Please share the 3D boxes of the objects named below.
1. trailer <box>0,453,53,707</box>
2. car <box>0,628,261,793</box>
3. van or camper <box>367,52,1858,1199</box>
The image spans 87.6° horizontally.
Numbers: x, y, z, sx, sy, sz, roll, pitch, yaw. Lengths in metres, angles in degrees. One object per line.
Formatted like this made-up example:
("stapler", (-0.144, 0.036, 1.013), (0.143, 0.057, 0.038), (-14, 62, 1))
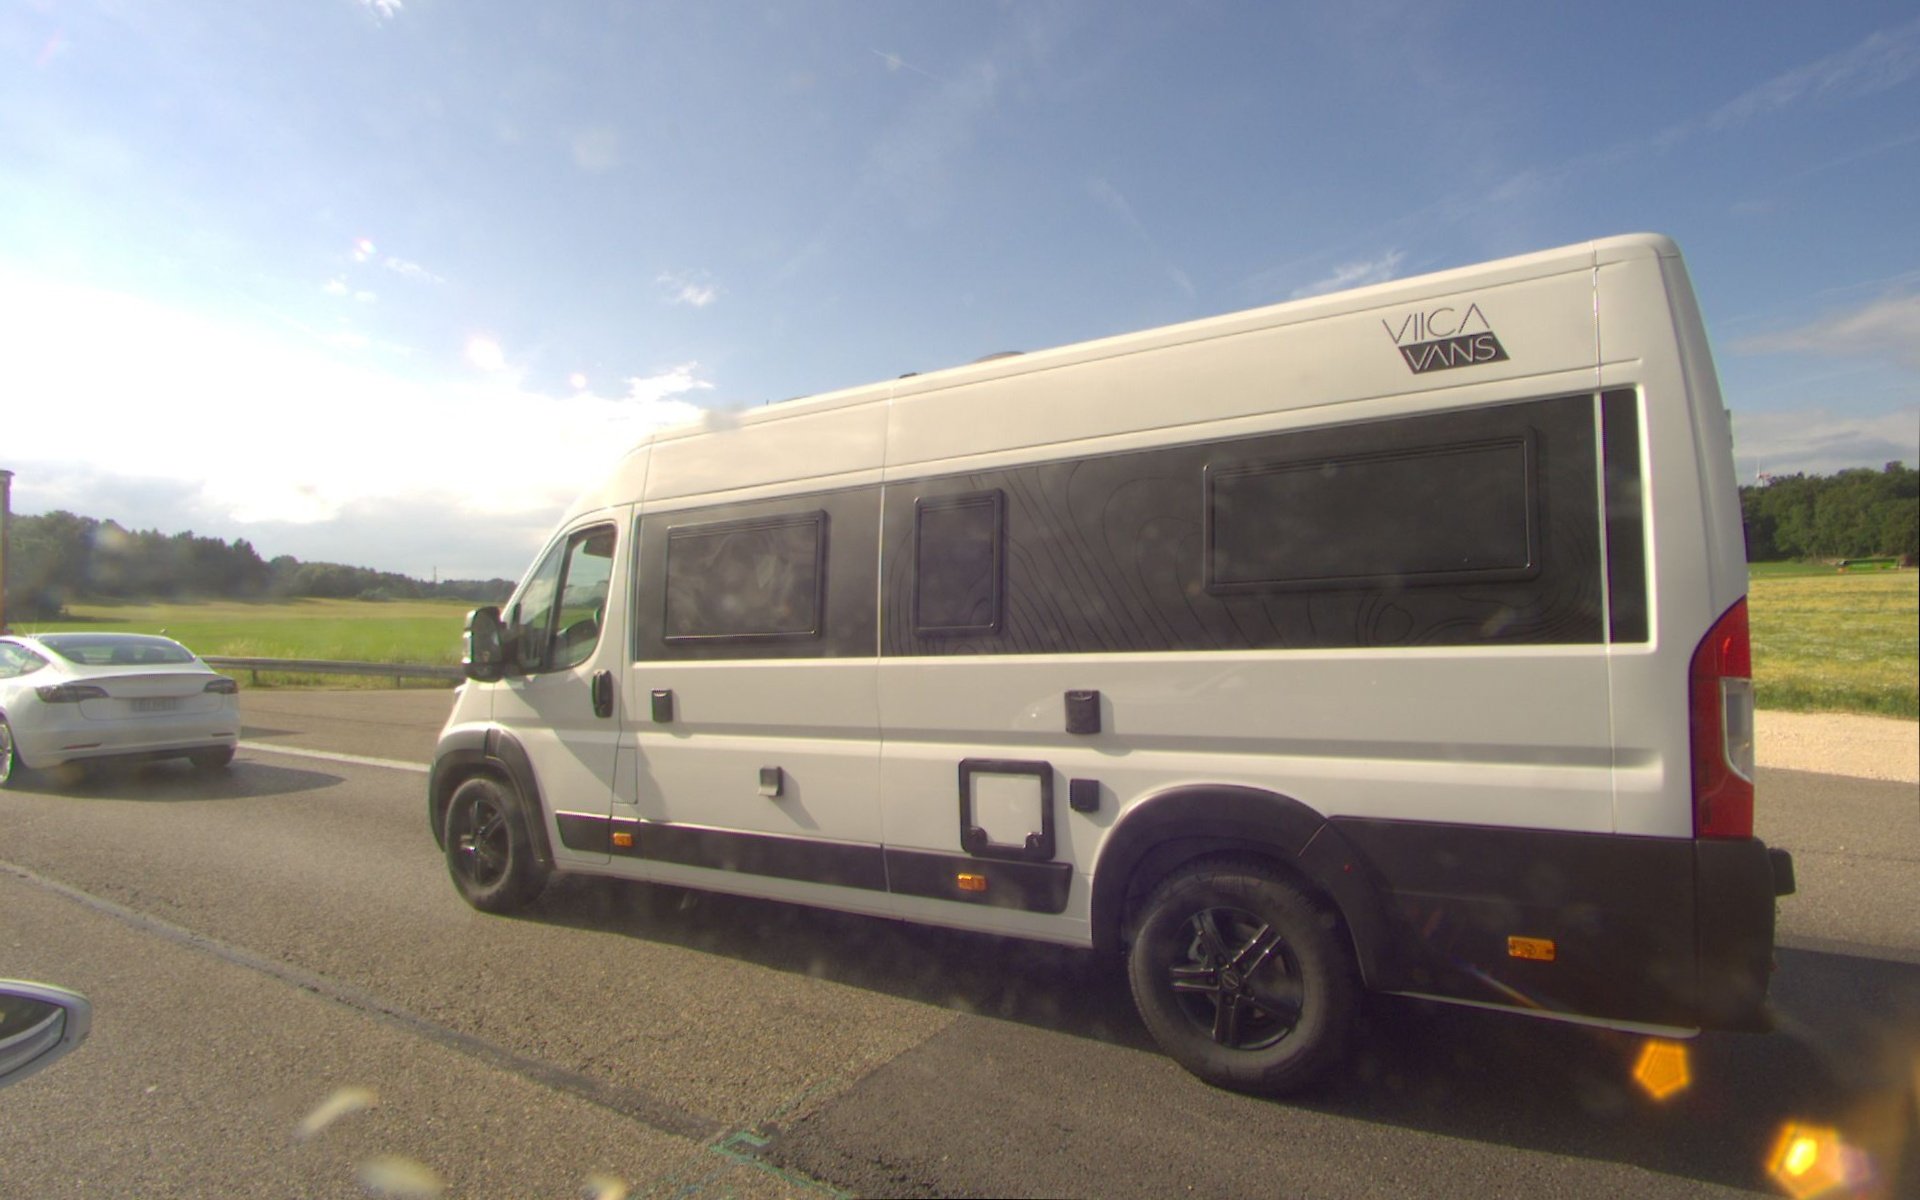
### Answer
("trailer", (-21.340, -0.138, 18.811), (13.181, 4.061, 3.125), (-2, -2, 33))
("car", (-9.493, 1.020, 10.654), (4.372, 1.412, 1.786), (-1, -1, 31))
("van or camper", (-0.068, 0.192, 4.852), (6.241, 2.716, 2.211), (-1, -1, 32))
